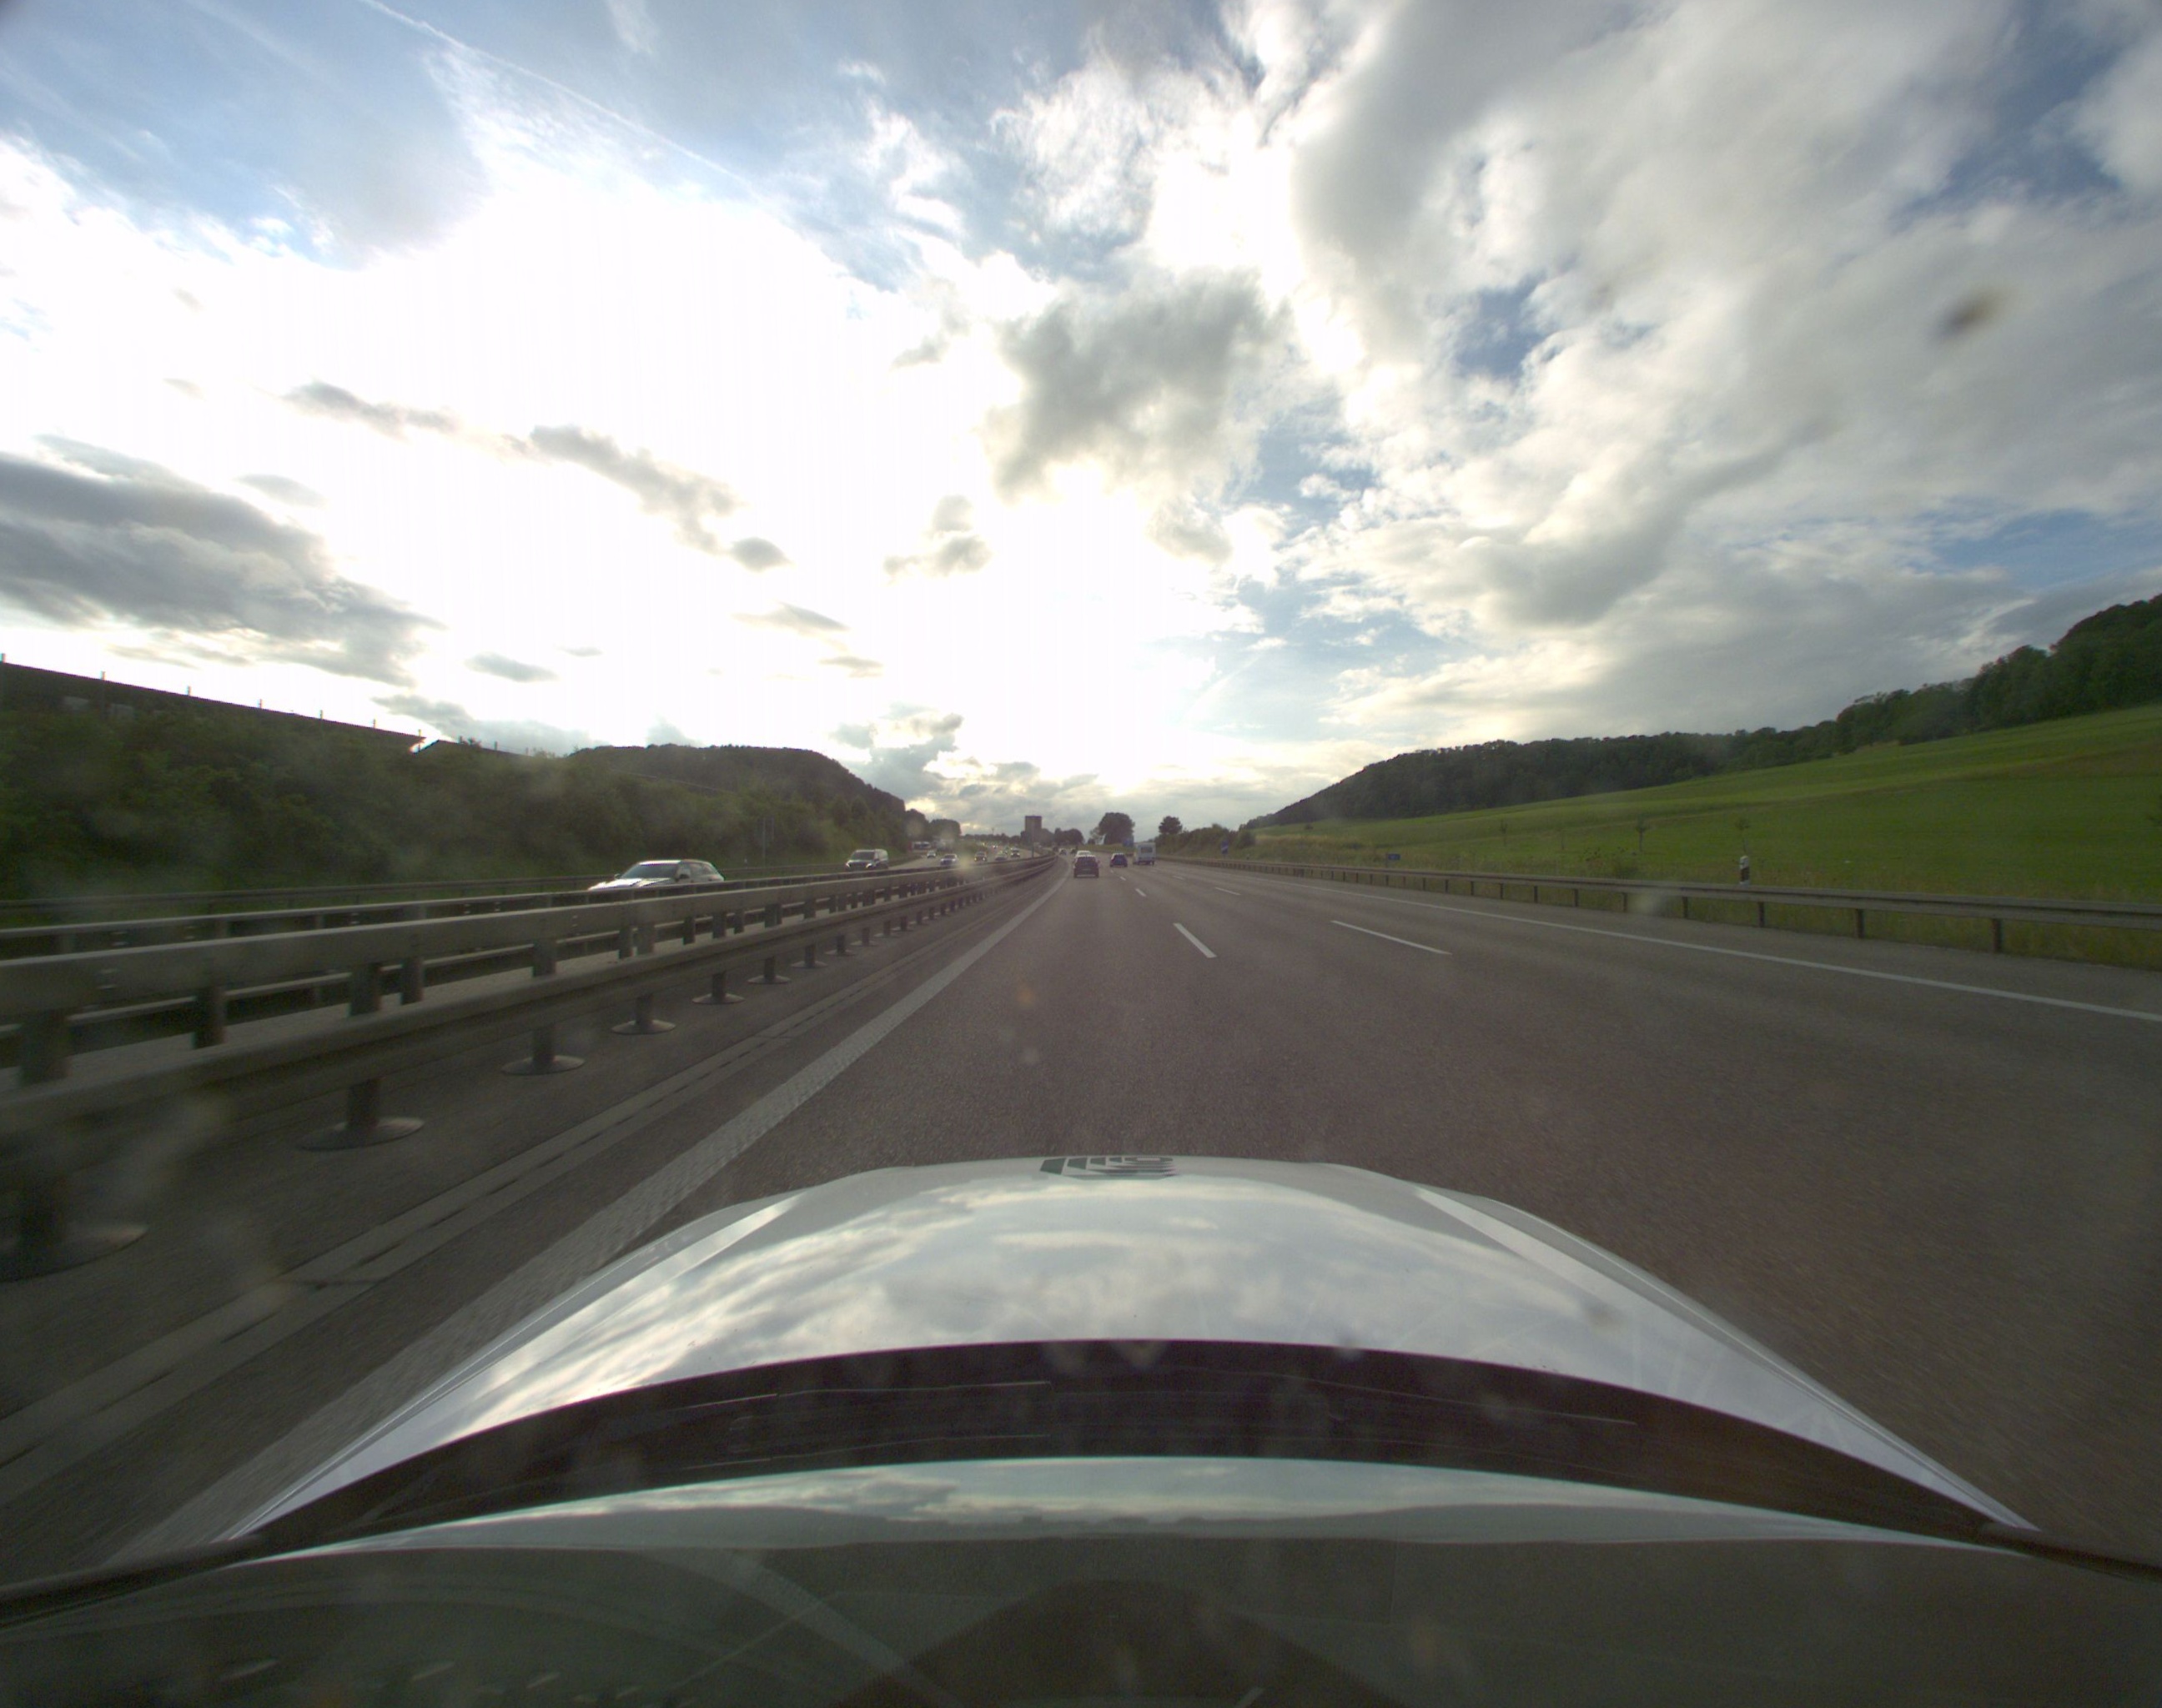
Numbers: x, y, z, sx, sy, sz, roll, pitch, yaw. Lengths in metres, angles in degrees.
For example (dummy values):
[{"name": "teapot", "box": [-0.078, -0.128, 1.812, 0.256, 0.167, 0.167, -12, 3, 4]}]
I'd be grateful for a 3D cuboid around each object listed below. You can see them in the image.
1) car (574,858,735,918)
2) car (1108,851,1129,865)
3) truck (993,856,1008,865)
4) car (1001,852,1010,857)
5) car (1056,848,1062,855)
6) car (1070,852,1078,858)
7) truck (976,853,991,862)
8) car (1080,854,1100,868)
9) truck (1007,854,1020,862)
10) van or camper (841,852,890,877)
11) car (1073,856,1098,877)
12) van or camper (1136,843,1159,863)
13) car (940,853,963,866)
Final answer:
[{"name": "car", "box": [-11.291, 0.845, 22.000, 1.988, 1.430, 4.585, 0, -1, -1]}, {"name": "car", "box": [3.918, 0.448, 85.877, 1.763, 1.433, 3.994, -1, 0, -4]}, {"name": "truck", "box": [-12.003, 0.998, 121.090, 1.989, 1.222, 3.995, -2, 0, -3]}, {"name": "car", "box": [-21.265, 0.164, 228.510, 1.986, 1.486, 4.002, -1, 0, 2]}, {"name": "car", "box": [-7.005, -0.817, 257.856, 1.989, 2.014, 3.996, -1, 0, -3]}, {"name": "car", "box": [-1.882, 0.186, 224.066, 1.948, 1.574, 4.005, 0, -1, 4]}, {"name": "truck", "box": [-15.446, 0.523, 129.195, 1.987, 1.353, 3.945, -2, 0, -1]}, {"name": "car", "box": [0.882, 0.665, 83.302, 1.563, 1.380, 3.992, -1, 0, -6]}, {"name": "truck", "box": [-14.049, 0.801, 170.054, 1.996, 1.594, 4.824, -2, 0, -13]}, {"name": "van or camper", "box": [-14.925, 0.690, 56.733, 1.988, 1.660, 5.451, -1, 0, -1]}, {"name": "car", "box": [0.265, 0.824, 53.908, 1.533, 1.348, 3.675, -1, 0, -1]}, {"name": "van or camper", "box": [7.780, -0.117, 95.513, 2.537, 2.239, 5.334, -1, 0, 4]}, {"name": "car", "box": [-14.700, 0.625, 92.798, 1.987, 1.353, 4.354, -1, 0, -1]}]
